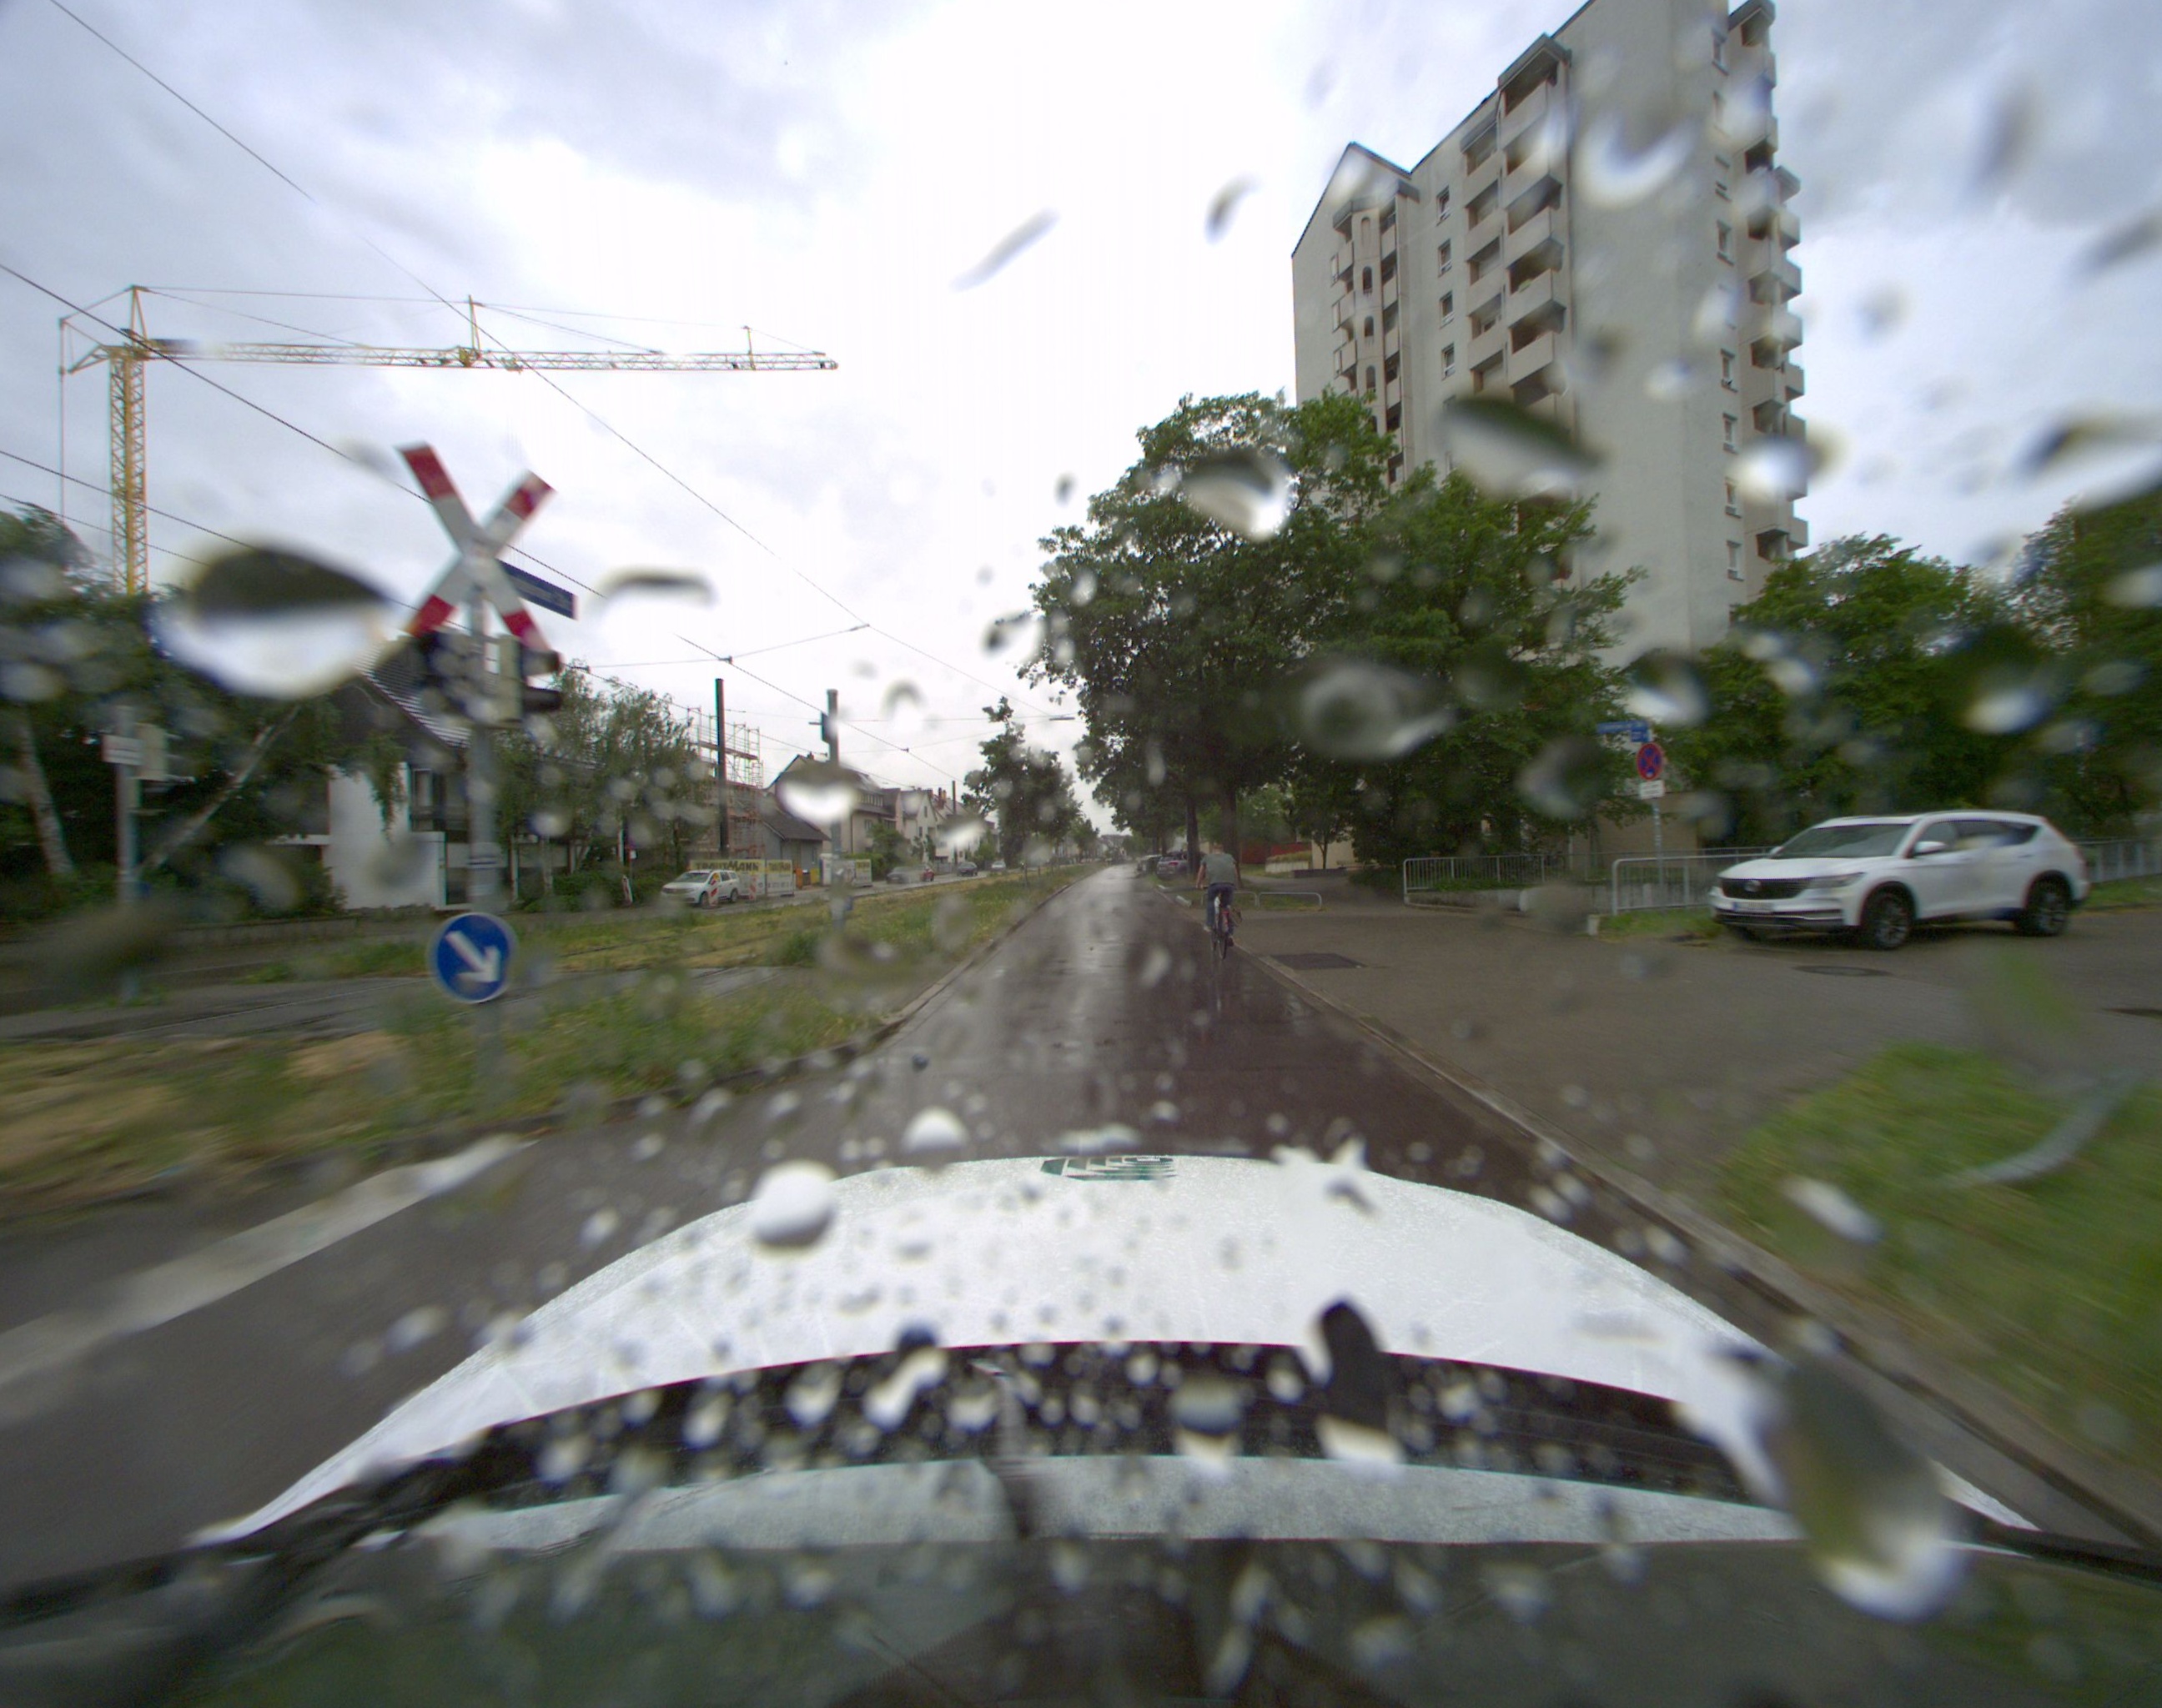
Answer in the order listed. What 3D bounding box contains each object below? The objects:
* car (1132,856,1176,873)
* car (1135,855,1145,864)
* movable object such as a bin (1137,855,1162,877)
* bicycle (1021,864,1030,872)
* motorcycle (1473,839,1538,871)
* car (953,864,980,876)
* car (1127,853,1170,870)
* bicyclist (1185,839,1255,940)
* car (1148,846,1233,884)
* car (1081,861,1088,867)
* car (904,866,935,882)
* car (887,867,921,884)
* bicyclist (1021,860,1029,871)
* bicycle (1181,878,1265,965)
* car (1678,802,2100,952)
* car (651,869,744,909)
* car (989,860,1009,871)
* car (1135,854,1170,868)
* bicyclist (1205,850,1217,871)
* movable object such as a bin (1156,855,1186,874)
[{"bbox_3d":[6.629,0.947,73.711,4.063,1.443,1.566,-2,0,-42],"label":"car"},{"bbox_3d":[12.004,1.114,165.137,1.825,1.586,4.003,-2,0,3],"label":"car"},{"bbox_3d":[4.868,0.850,57.849,1.129,1.457,1.392,-8,1,-19],"label":"movable object such as a bin"},{"bbox_3d":[-8.513,2.131,125.209,1.014,1.028,3.198,-2,0,2],"label":"bicycle"},{"bbox_3d":[18.191,0.044,34.971,0.889,1.288,2.277,-2,-1,-35],"label":"motorcycle"},{"bbox_3d":[-12.700,1.766,90.505,1.887,1.244,4.694,0,0,5],"label":"car"},{"bbox_3d":[6.504,0.722,78.240,4.057,1.443,1.568,-2,0,-35],"label":"car"},{"bbox_3d":[2.090,0.514,12.377,0.807,1.433,1.060,-2,-1,-1],"label":"bicyclist"},{"bbox_3d":[5.973,0.588,44.302,4.161,1.719,1.981,-5,1,-30],"label":"car"},{"bbox_3d":[1.037,2.790,231.443,1.835,1.672,4.003,-2,0,3],"label":"car"},{"bbox_3d":[-13.813,1.698,69.795,1.667,1.244,3.858,0,0,3],"label":"car"},{"bbox_3d":[-13.994,1.699,64.609,1.656,1.244,4.074,0,0,3],"label":"car"},{"bbox_3d":[-8.563,1.725,124.545,1.014,1.685,1.092,-2,0,2],"label":"bicyclist"},{"bbox_3d":[2.113,0.967,12.510,0.807,1.097,2.516,-3,0,0],"label":"bicycle"},{"bbox_3d":[11.279,0.254,11.466,4.809,1.745,1.991,-2,-1,-14],"label":"car"},{"bbox_3d":[-16.508,1.469,35.345,1.703,1.542,4.426,0,0,3],"label":"car"},{"bbox_3d":[-11.379,1.604,112.763,1.887,1.469,4.694,0,0,5],"label":"car"},{"bbox_3d":[8.354,0.776,95.033,4.057,1.513,1.568,-2,0,-35],"label":"car"},{"bbox_3d":[9.930,0.496,62.395,0.732,1.594,0.945,-2,0,2],"label":"bicyclist"},{"bbox_3d":[6.417,0.767,58.209,1.686,1.326,1.392,-1,0,-19],"label":"movable object such as a bin"}]
